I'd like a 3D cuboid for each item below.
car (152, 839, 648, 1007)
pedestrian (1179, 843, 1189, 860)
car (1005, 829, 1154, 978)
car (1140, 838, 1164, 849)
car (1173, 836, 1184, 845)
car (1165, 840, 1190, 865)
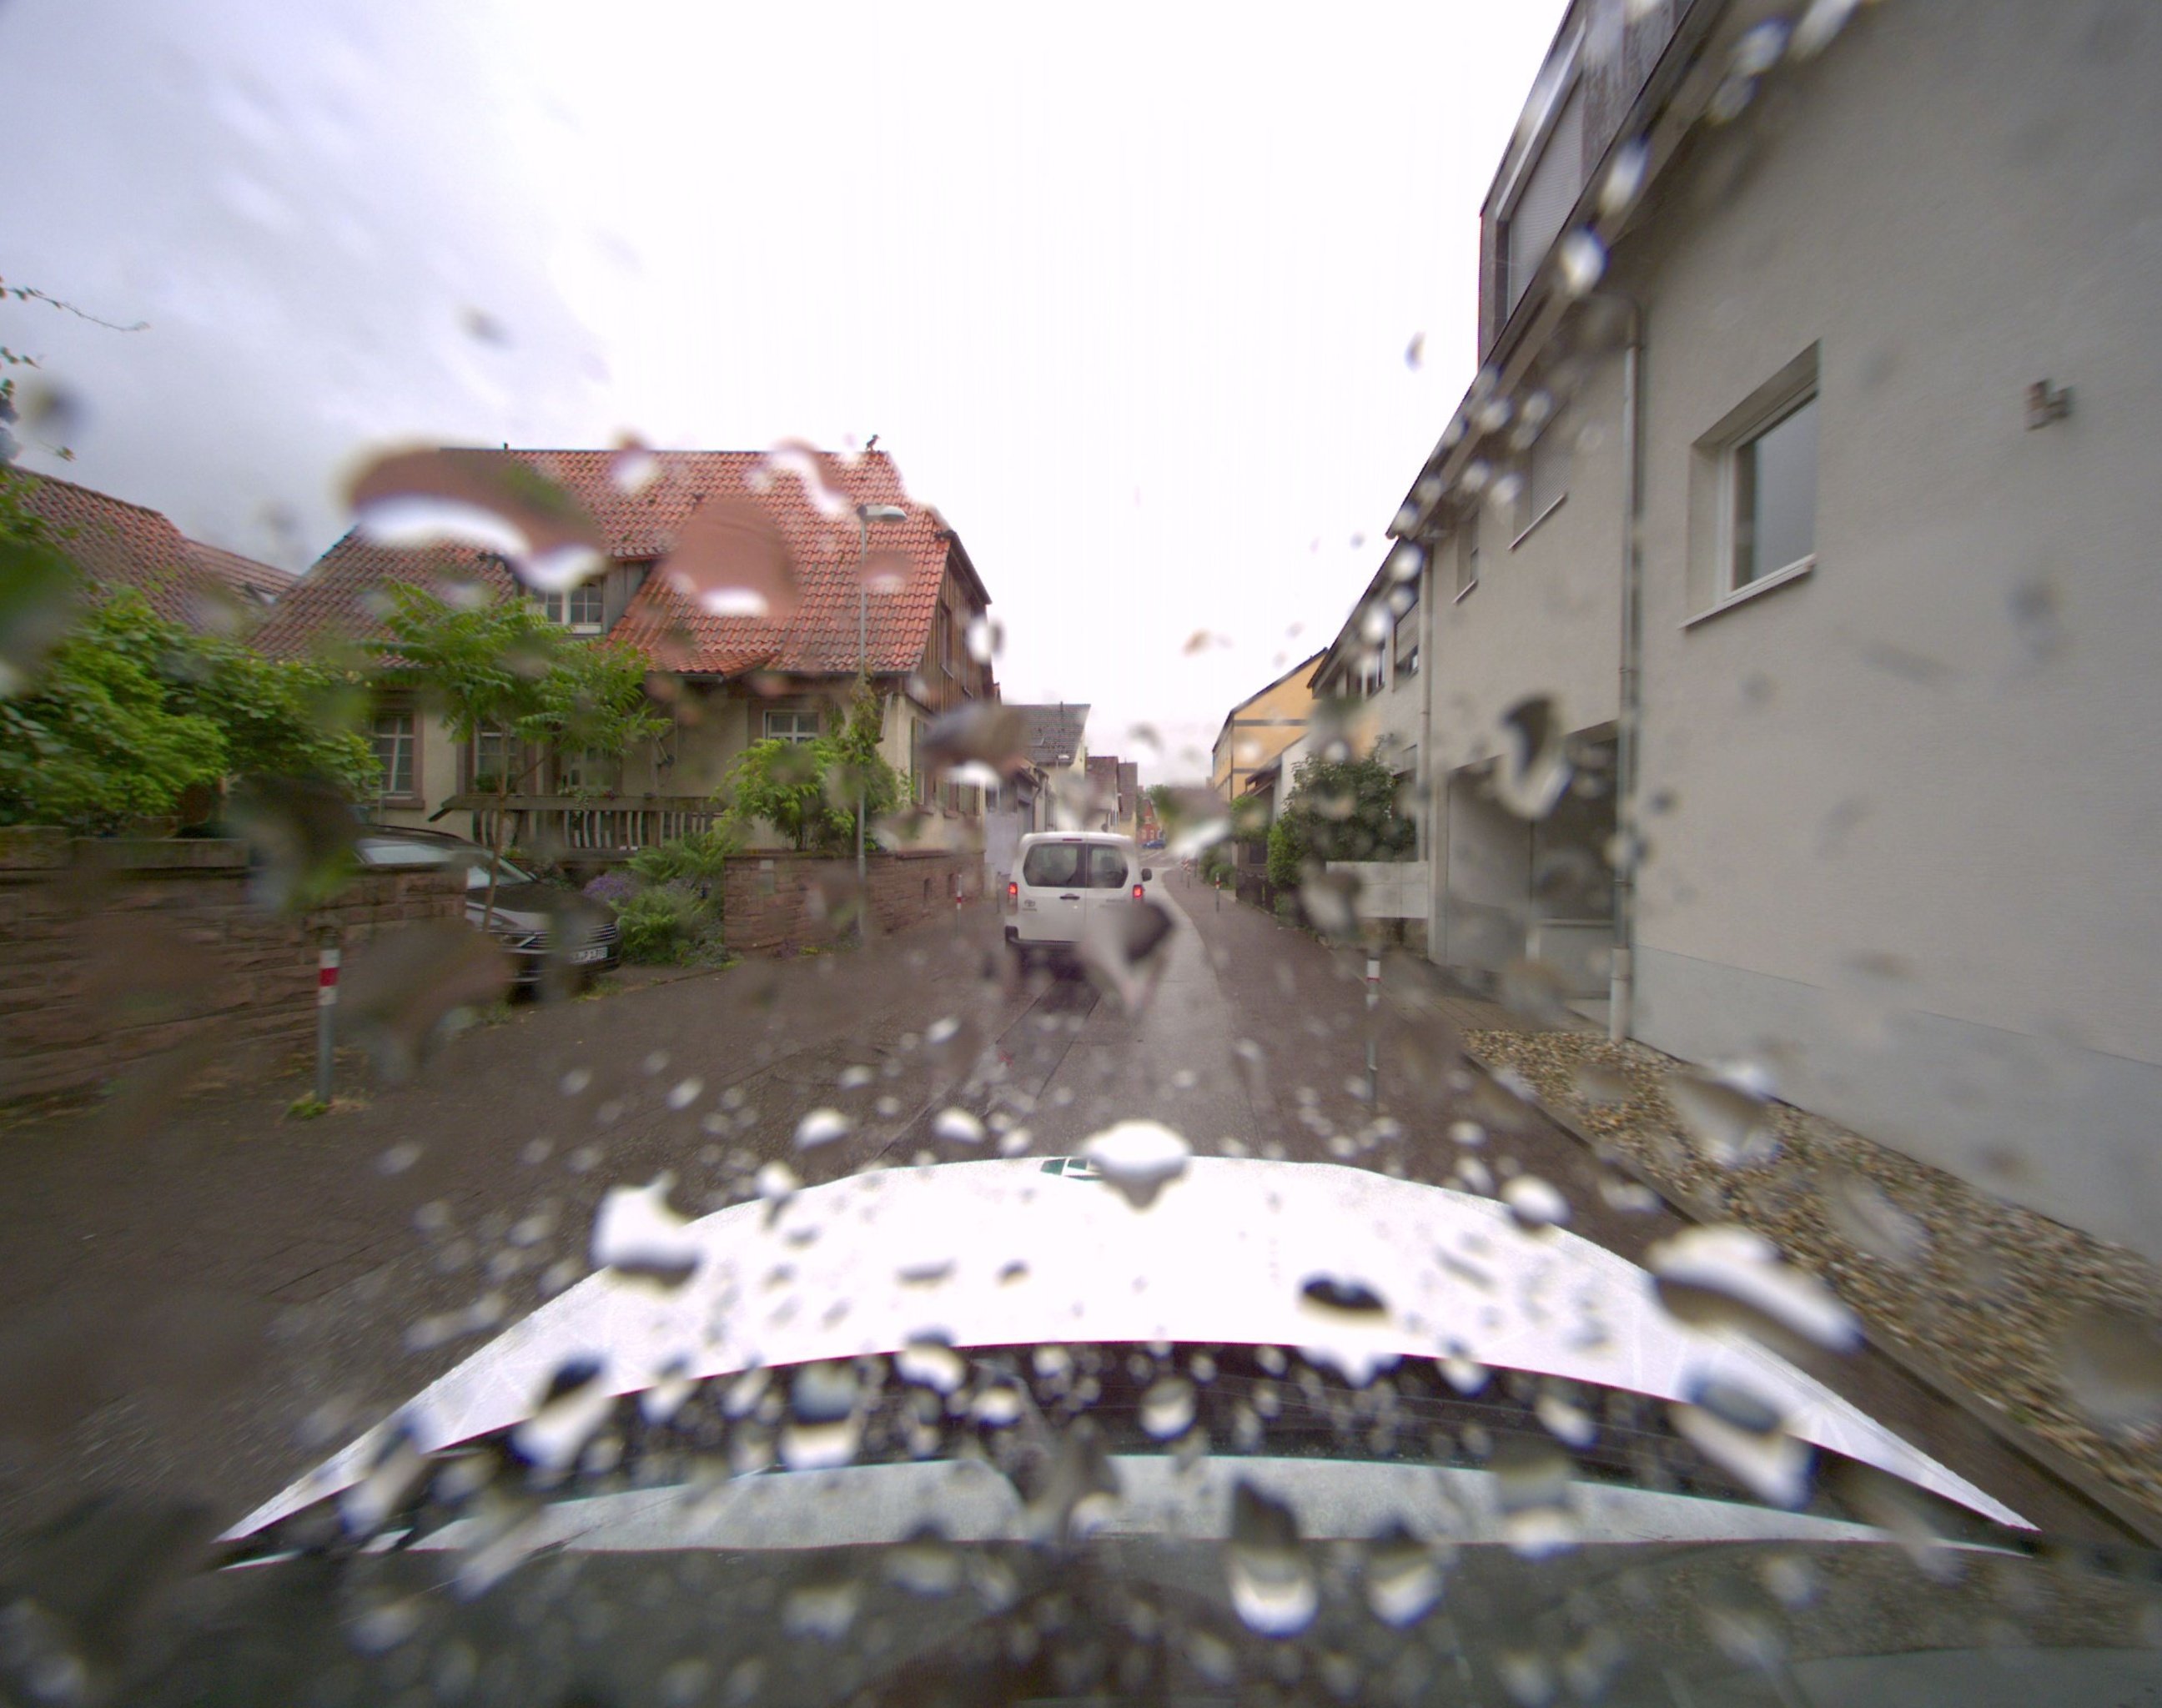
[{"bbox_3d":[-6.701,0.574,8.170,3.960,1.425,1.742,0,0,12],"label":"car"},{"bbox_3d":[11.674,-0.312,92.335,1.046,1.892,0.878,-1,0,5],"label":"pedestrian"},{"bbox_3d":[0.052,0.595,11.778,1.768,1.780,4.002,0,0,2],"label":"car"},{"bbox_3d":[11.134,-1.608,127.188,1.974,1.559,3.453,-1,2,41],"label":"car"},{"bbox_3d":[17.886,-2.488,149.259,1.578,1.441,3.778,2,0,12],"label":"car"},{"bbox_3d":[8.265,-0.113,69.483,1.982,2.013,4.009,-1,0,8],"label":"car"}]
